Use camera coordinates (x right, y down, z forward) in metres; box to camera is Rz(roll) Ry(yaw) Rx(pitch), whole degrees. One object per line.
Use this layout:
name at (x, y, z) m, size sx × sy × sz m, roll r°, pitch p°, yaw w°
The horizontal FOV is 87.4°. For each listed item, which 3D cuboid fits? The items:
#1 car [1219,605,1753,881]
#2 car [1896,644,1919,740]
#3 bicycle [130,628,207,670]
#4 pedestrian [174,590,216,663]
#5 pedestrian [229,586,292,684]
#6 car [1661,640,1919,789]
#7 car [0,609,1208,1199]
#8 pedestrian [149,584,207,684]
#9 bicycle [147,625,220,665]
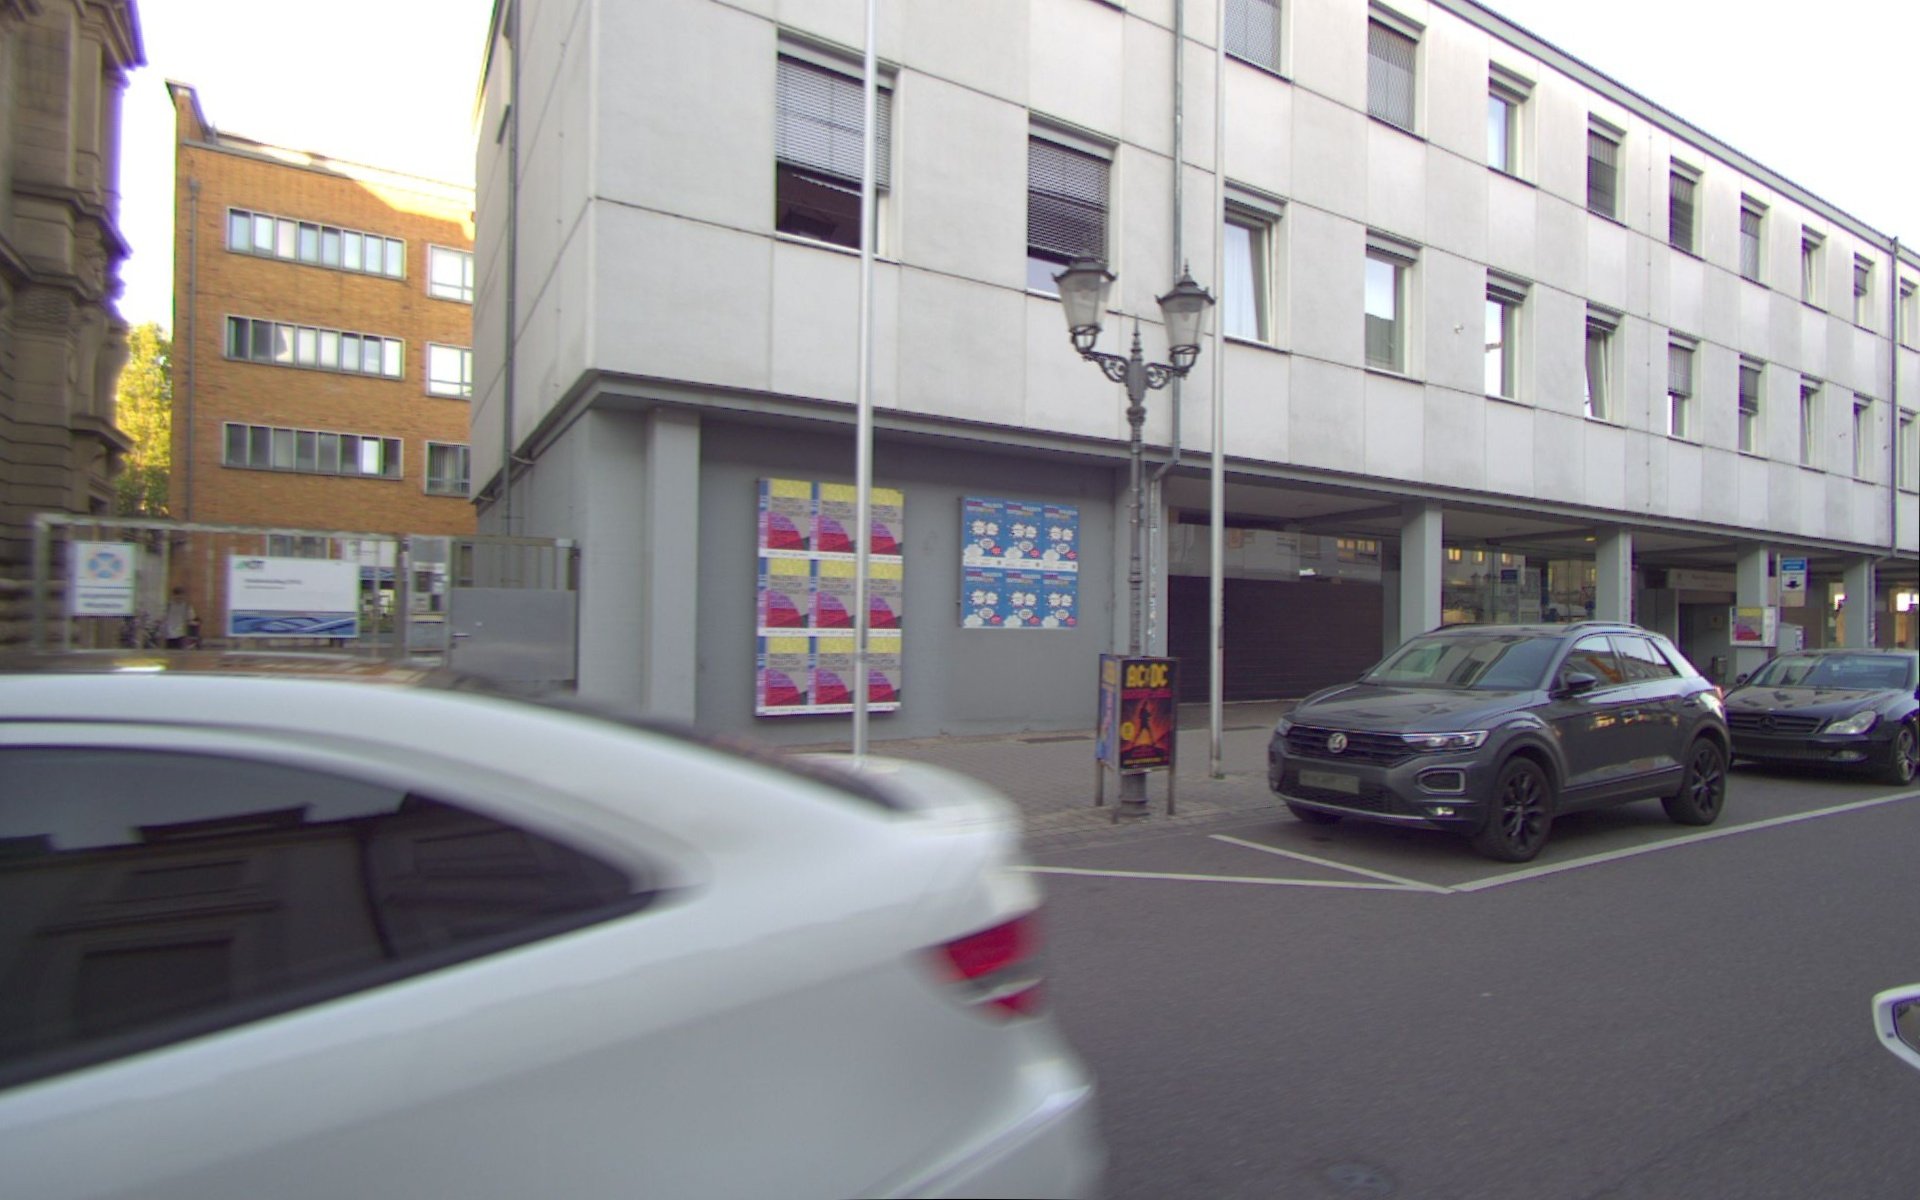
car at (4.147, 0.915, 7.787) m, size 4.117 × 1.636 × 1.777 m, roll 2°, pitch -2°, yaw -30°
car at (16.394, 1.414, 15.498) m, size 4.040 × 1.427 × 1.777 m, roll 2°, pitch -2°, yaw -30°
bicycle at (-18.445, 1.139, 23.433) m, size 1.339 × 0.965 × 0.374 m, roll 1°, pitch -1°, yaw -29°
pedestrian at (-19.423, 0.678, 25.512) m, size 0.599 × 1.828 × 0.700 m, roll 1°, pitch -1°, yaw -16°
pedestrian at (-13.461, 0.671, 19.356) m, size 0.765 × 1.828 × 0.700 m, roll 1°, pitch -1°, yaw -16°
car at (10.112, 1.199, 11.627) m, size 4.040 × 1.427 × 1.777 m, roll 2°, pitch -2°, yaw -30°
car at (-1.744, 0.727, 1.435) m, size 4.042 × 1.427 × 1.776 m, roll 2°, pitch -2°, yaw -32°
pedestrian at (-14.575, 0.633, 18.744) m, size 0.599 × 1.828 × 0.700 m, roll 1°, pitch -1°, yaw -16°
bicycle at (-18.997, 1.105, 24.592) m, size 1.339 × 0.965 × 0.374 m, roll 1°, pitch -1°, yaw -29°
